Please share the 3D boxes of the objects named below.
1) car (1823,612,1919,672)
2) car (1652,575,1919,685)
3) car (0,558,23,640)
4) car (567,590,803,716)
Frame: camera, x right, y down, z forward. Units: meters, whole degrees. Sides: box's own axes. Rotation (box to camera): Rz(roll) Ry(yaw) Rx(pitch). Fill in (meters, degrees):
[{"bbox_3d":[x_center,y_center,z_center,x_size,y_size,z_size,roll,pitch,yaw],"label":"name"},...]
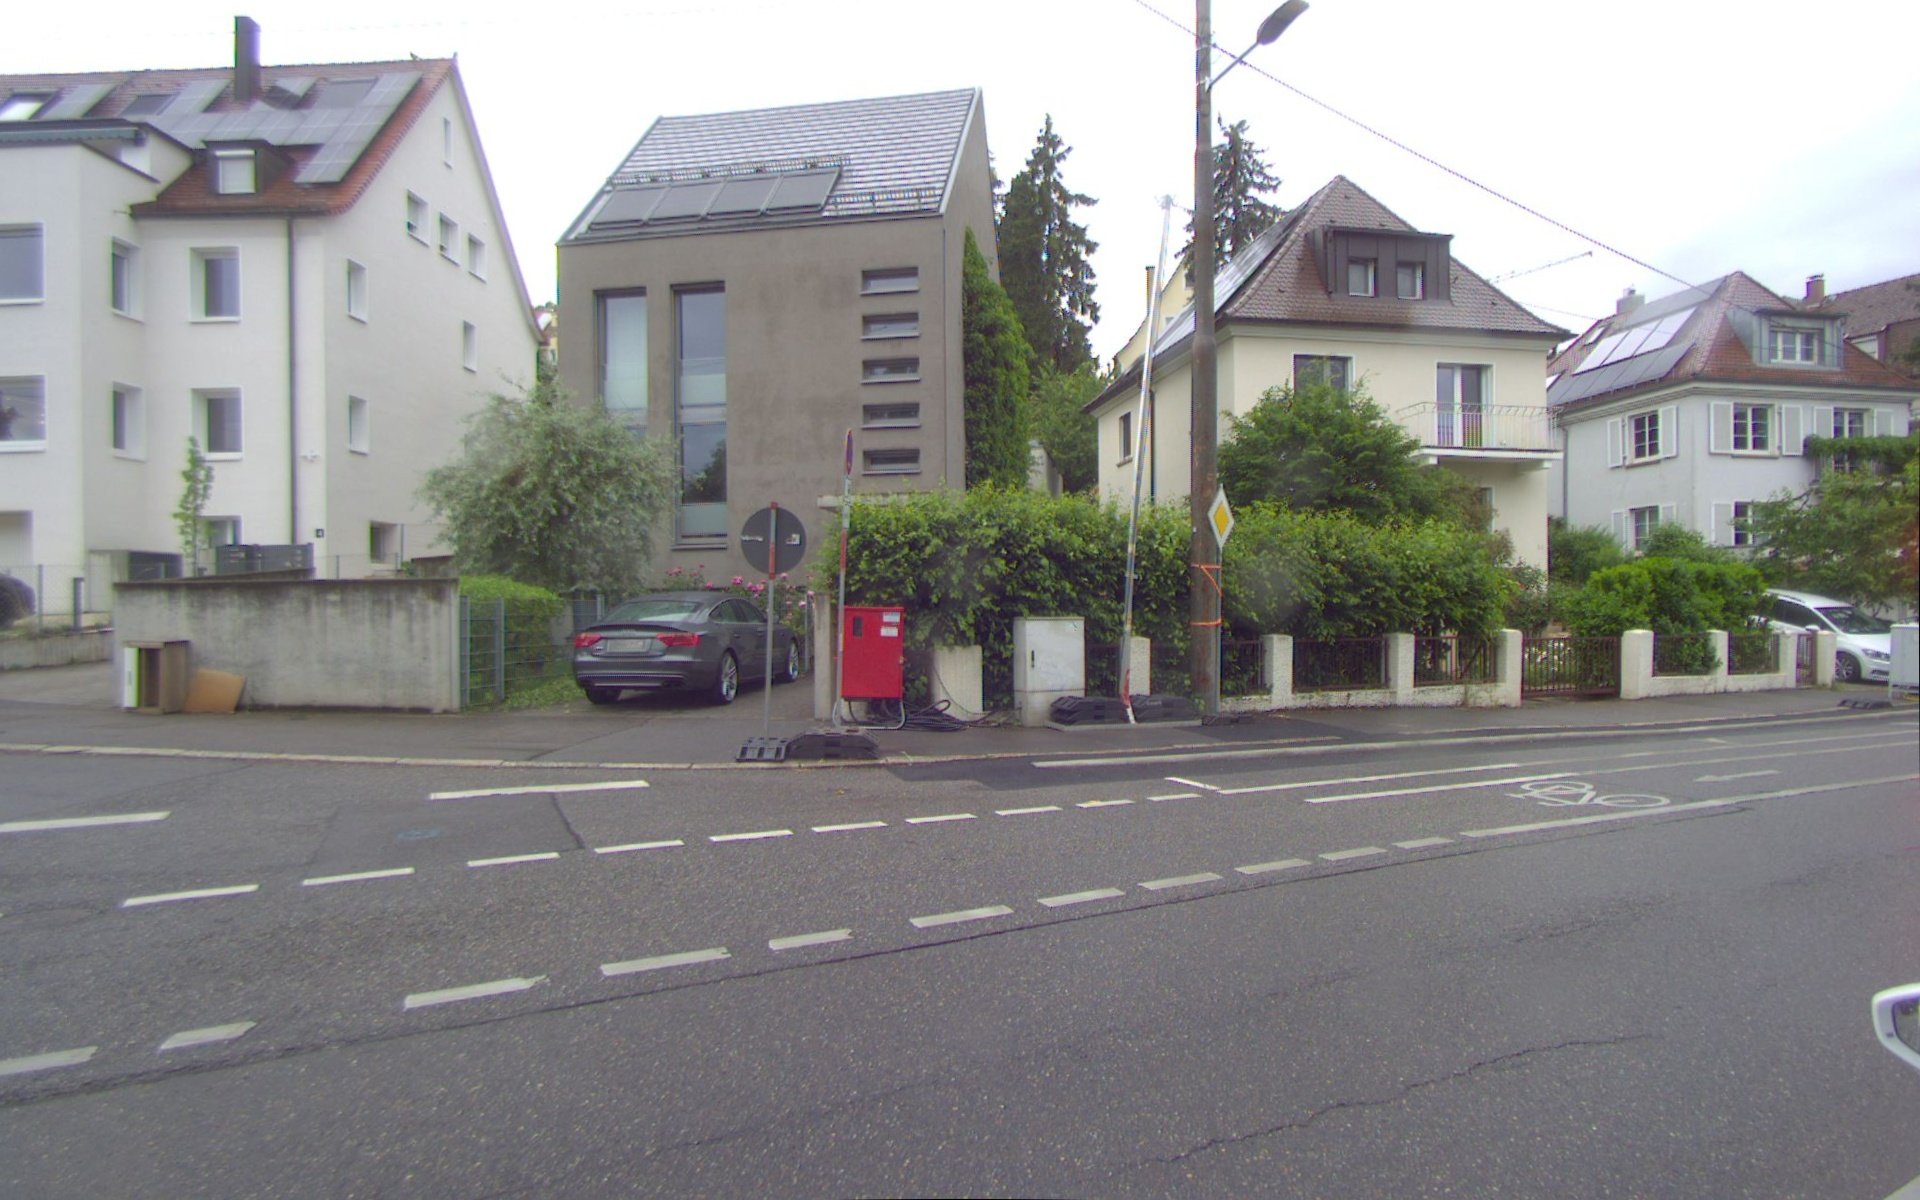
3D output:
[{"bbox_3d":[26.039,1.147,26.939,1.909,1.546,3.986,2,0,-16],"label":"car"},{"bbox_3d":[19.594,0.581,23.947,1.833,1.639,4.960,0,10,-15],"label":"car"},{"bbox_3d":[-16.813,0.058,15.142,1.536,1.350,3.923,1,3,3],"label":"car"},{"bbox_3d":[-3.514,0.588,13.706,1.581,1.387,4.265,0,1,7],"label":"car"}]
